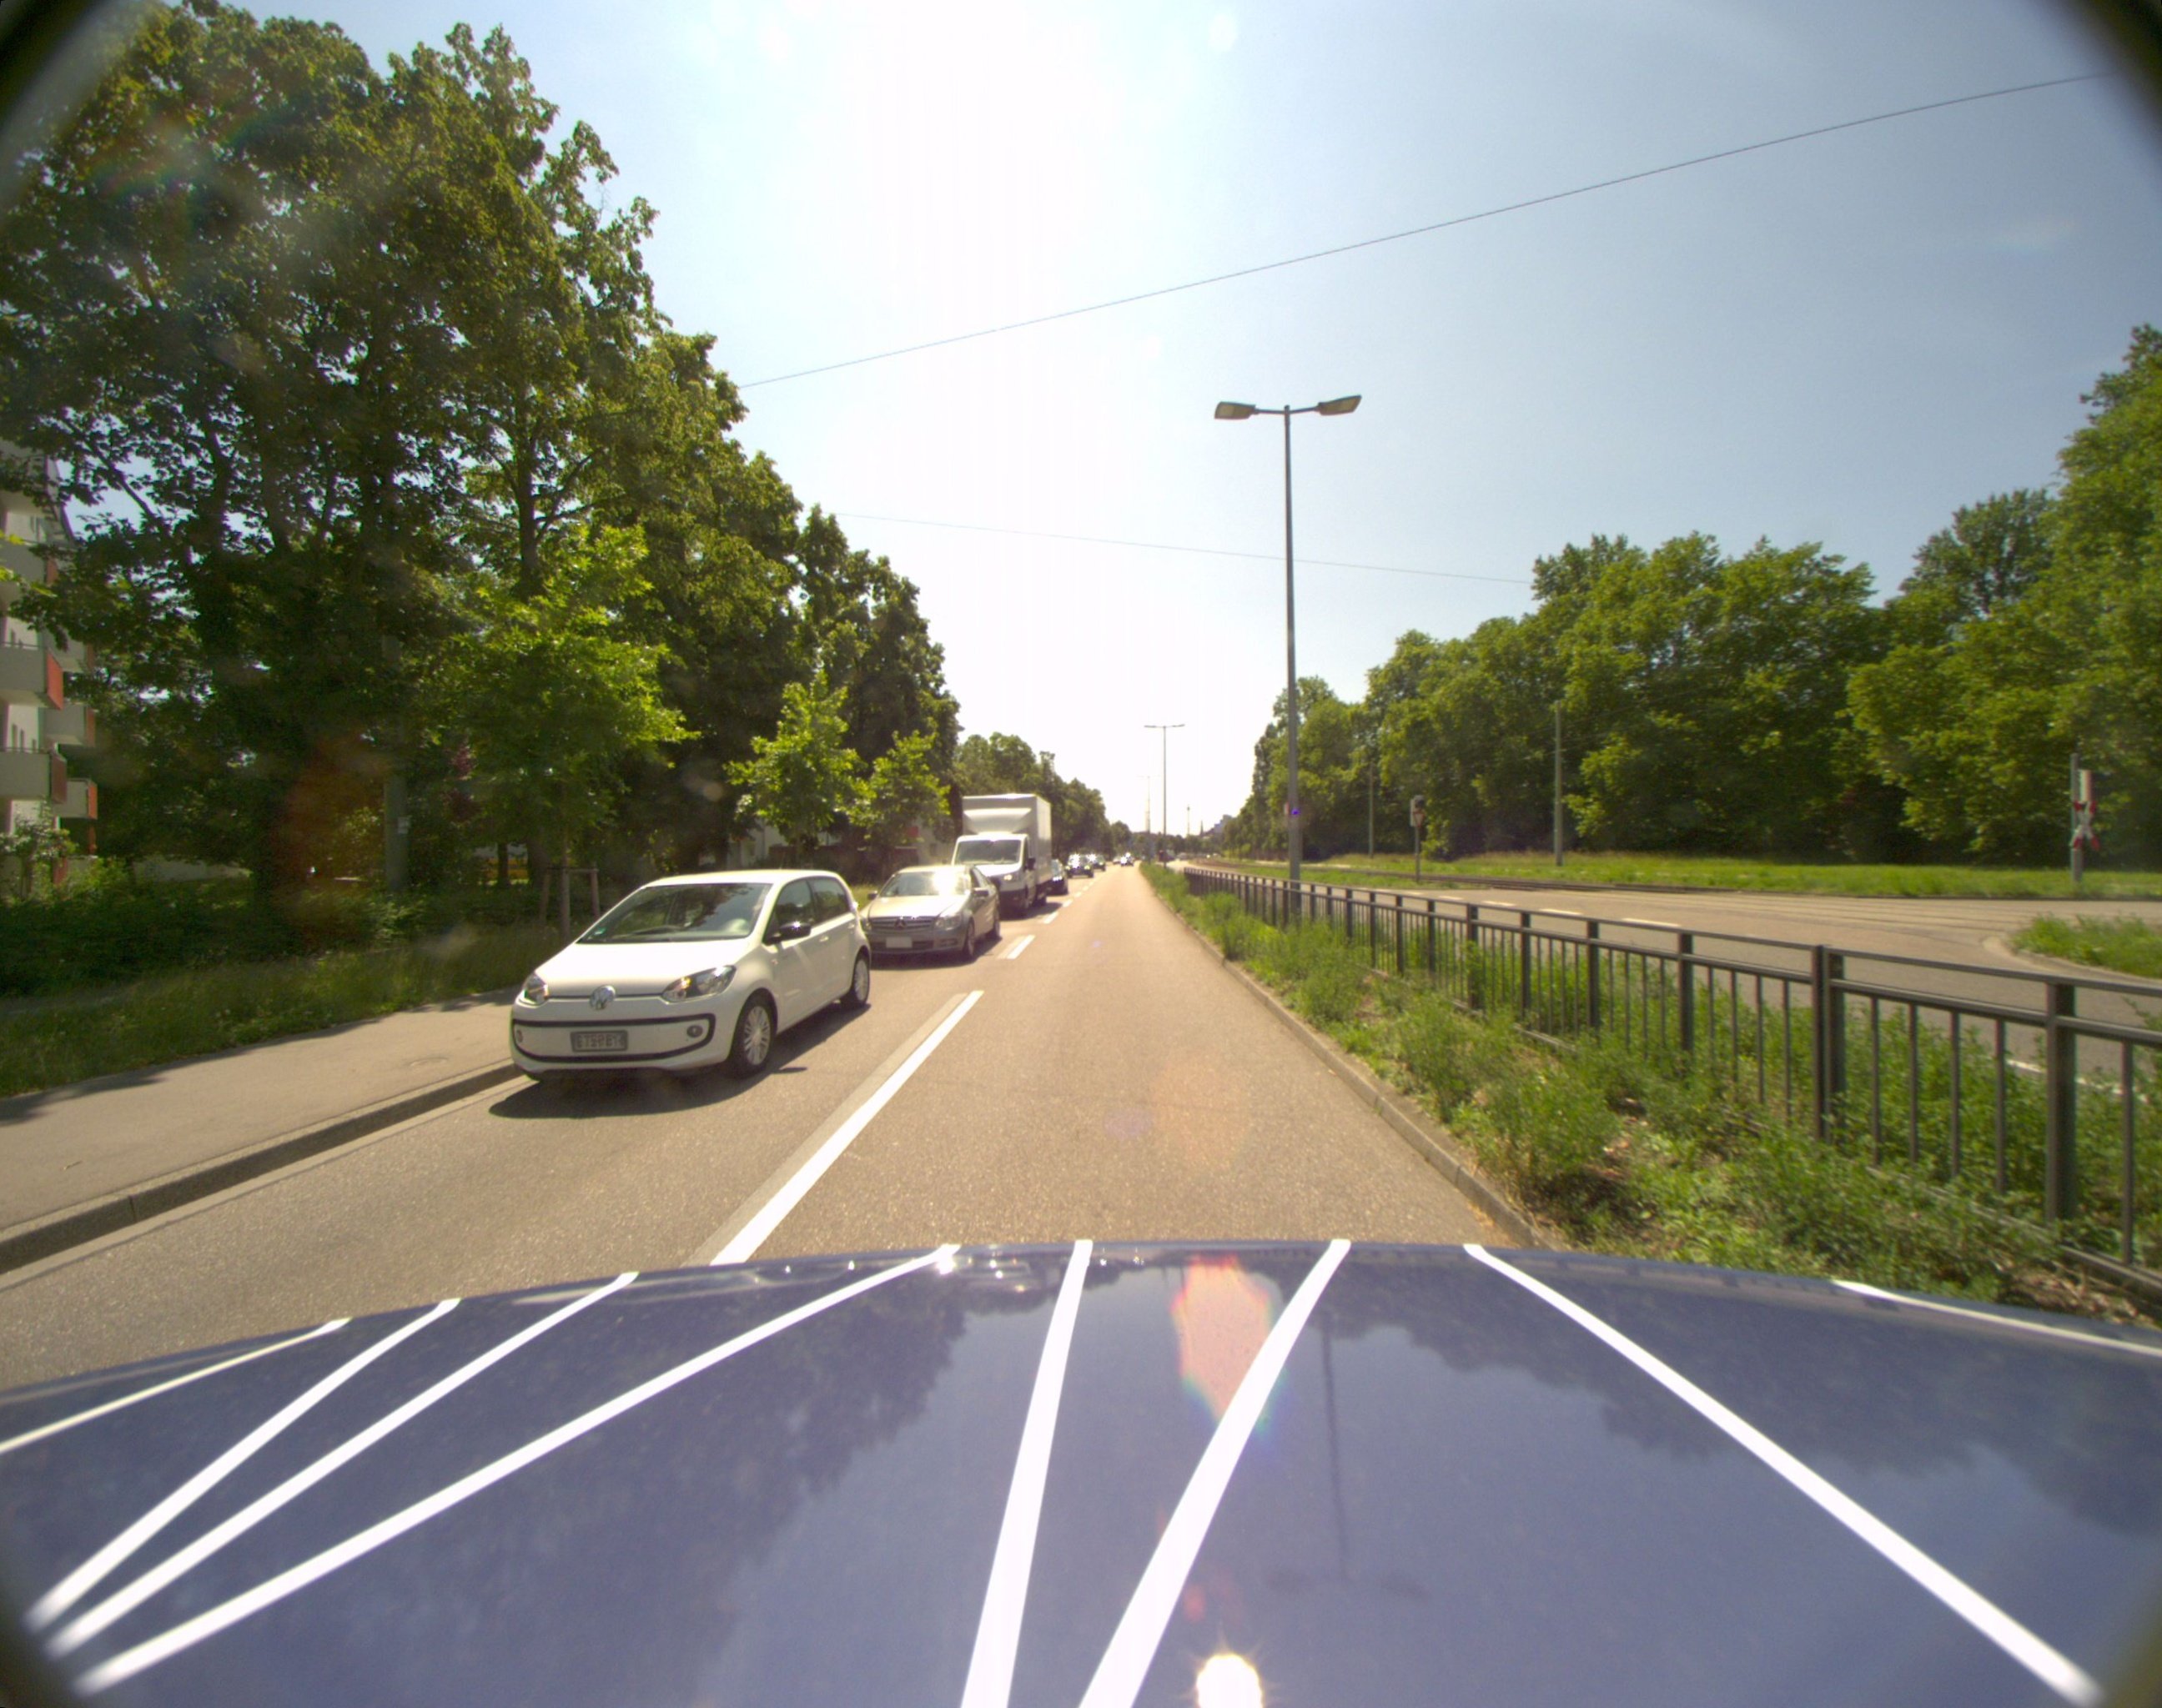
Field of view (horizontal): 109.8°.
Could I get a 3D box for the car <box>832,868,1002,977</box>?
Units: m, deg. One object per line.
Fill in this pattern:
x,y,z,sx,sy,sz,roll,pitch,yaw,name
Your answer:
-2.471,0.983,12.534,1.840,1.400,4.087,-1,0,1,car

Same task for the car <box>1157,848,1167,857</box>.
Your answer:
16.503,-0.325,154.026,1.997,1.847,4.002,-1,0,7,car

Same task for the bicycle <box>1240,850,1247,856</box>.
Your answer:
33.467,-0.201,156.855,0.862,1.155,2.787,-1,0,1,bicycle

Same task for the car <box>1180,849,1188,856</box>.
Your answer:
27.270,-0.482,200.819,1.998,1.847,4.001,-1,0,5,car

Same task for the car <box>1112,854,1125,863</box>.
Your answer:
6.609,0.852,133.470,1.951,1.499,4.002,-1,0,7,car

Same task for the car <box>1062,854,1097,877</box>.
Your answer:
-0.056,0.797,54.766,1.997,1.499,4.002,-1,0,7,car

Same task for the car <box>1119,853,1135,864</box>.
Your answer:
6.379,0.641,105.346,1.997,1.499,4.002,-1,0,7,car

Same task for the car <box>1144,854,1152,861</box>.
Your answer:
17.082,0.913,194.710,1.998,1.847,4.001,-1,0,5,car

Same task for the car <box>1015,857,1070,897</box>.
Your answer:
-1.503,0.912,31.448,1.998,1.499,4.000,-1,0,1,car

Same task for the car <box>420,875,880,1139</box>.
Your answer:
-3.123,0.986,6.513,1.730,1.470,3.771,-1,0,1,car

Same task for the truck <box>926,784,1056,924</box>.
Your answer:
-2.296,-0.010,22.272,2.433,3.326,7.923,-1,0,3,truck

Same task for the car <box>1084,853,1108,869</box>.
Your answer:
1.559,0.669,75.969,1.997,1.499,4.002,-1,0,7,car

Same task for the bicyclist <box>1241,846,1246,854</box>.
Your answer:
33.481,-0.826,156.792,0.862,1.796,1.118,-1,1,1,bicyclist

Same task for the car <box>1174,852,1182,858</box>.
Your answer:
27.363,0.264,213.835,1.998,1.847,4.001,-1,0,5,car
